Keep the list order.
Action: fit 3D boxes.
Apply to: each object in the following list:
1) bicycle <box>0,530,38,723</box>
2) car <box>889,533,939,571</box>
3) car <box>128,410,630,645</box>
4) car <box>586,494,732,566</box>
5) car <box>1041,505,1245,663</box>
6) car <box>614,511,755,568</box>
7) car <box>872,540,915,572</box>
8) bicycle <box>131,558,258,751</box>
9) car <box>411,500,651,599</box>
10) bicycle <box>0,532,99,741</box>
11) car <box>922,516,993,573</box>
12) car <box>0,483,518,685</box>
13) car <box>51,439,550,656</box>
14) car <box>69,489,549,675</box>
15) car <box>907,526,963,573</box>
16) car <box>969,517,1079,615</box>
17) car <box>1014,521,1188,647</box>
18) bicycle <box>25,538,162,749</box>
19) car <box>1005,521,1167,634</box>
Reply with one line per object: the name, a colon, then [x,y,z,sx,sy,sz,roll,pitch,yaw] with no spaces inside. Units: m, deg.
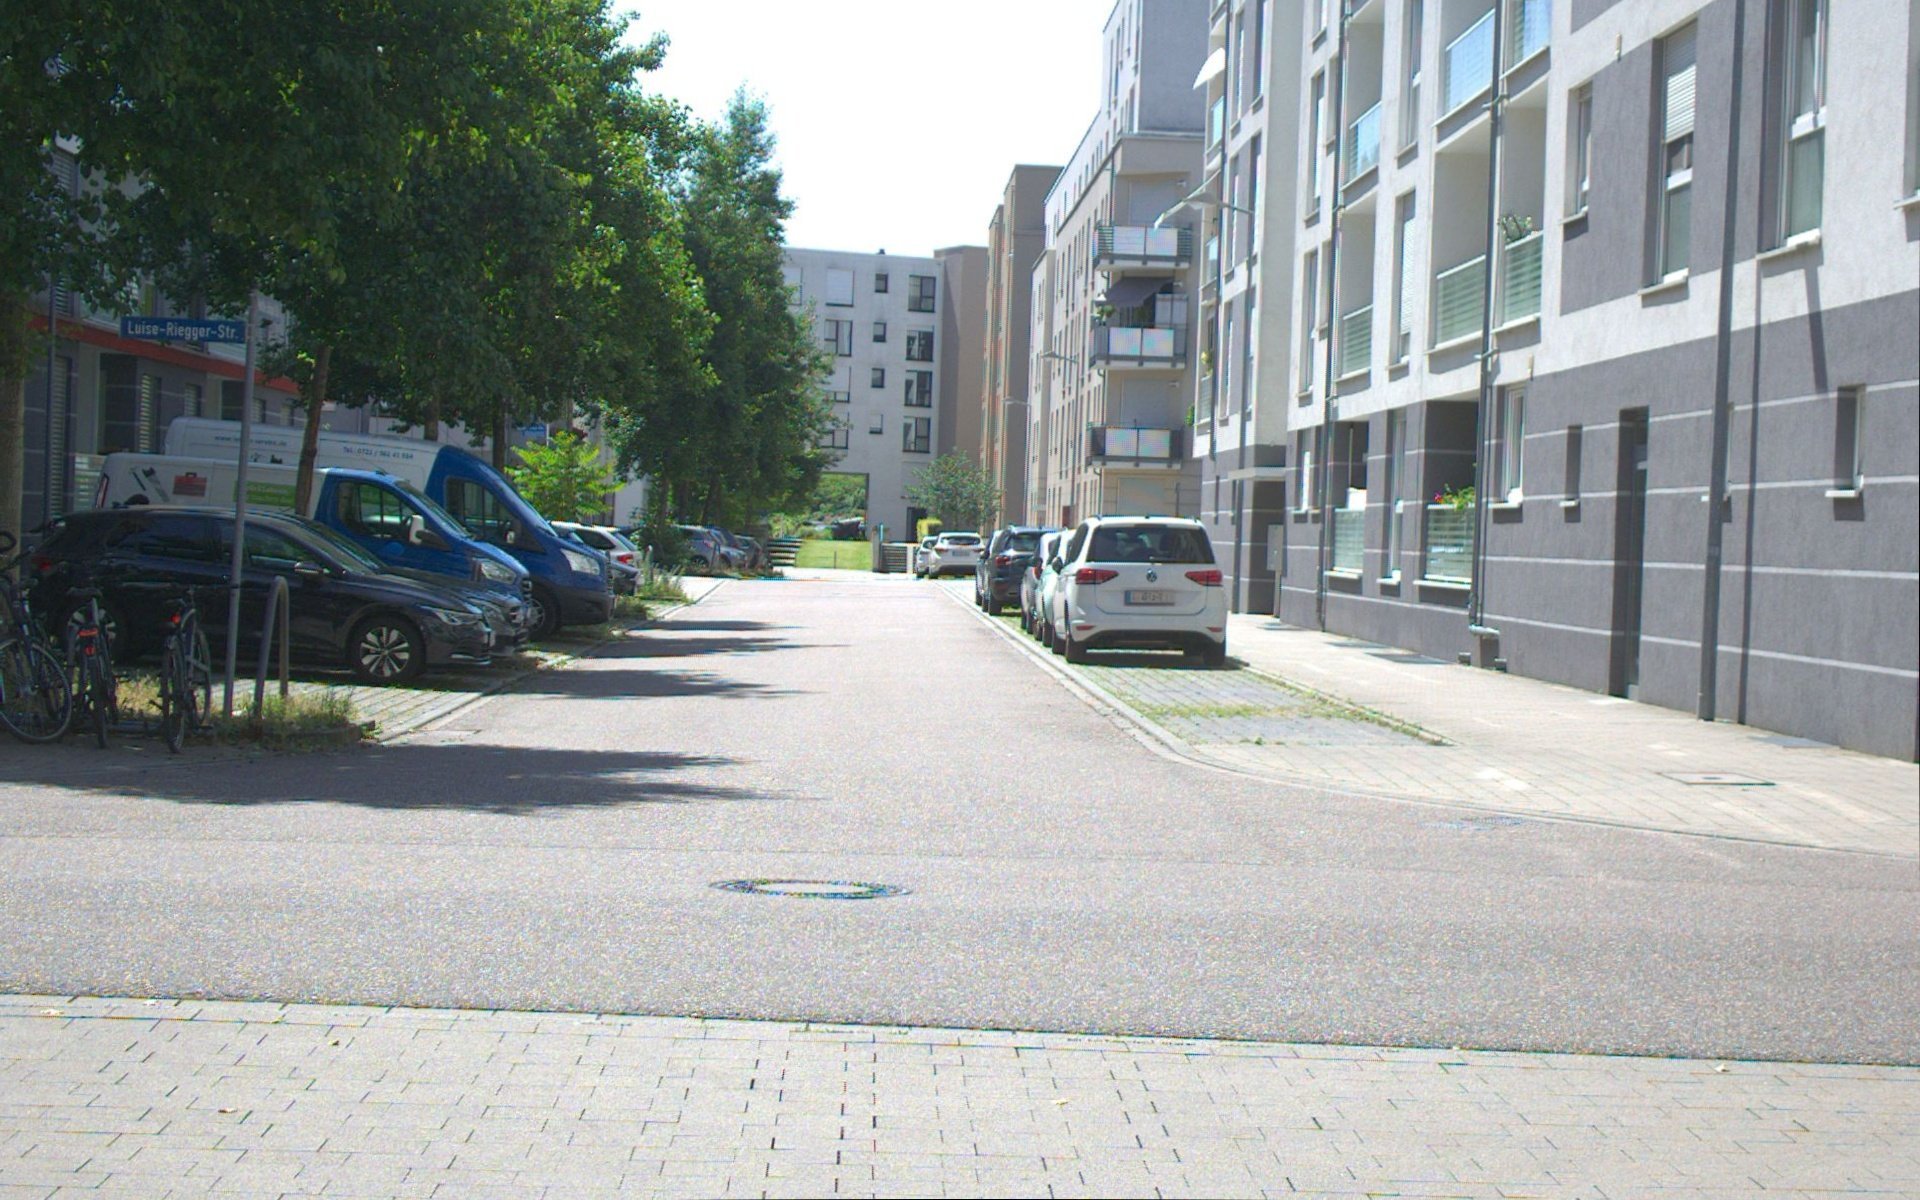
bicycle: [-6.342,0.172,21.887,0.518,1.200,1.753,3,2,-4]
car: [-1.992,-2.085,148.998,1.993,1.514,4.001,2,1,-3]
car: [-7.392,-0.936,44.335,6.023,2.806,2.605,1,1,-1]
car: [-9.012,-2.108,103.152,3.988,2.007,2.000,2,1,5]
car: [2.024,-0.223,39.099,1.997,1.651,4.115,1,1,-1]
car: [-8.459,-1.862,105.764,3.988,1.597,2.000,2,1,5]
car: [-3.278,-2.194,170.232,1.993,1.514,4.000,2,1,1]
bicycle: [-4.856,0.319,21.878,0.466,1.138,1.926,2,1,-4]
car: [-7.645,-0.915,61.543,3.987,1.612,2.000,2,1,1]
bicycle: [-5.871,0.205,21.644,0.434,1.200,1.700,4,2,-1]
car: [-0.104,-1.754,107.726,1.993,1.669,4.001,2,1,-3]
car: [-6.428,-0.166,31.746,4.383,1.509,2.075,4,1,-1]
car: [-7.380,-0.607,38.908,5.144,2.112,2.312,3,2,-1]
car: [-6.427,-0.196,34.298,4.383,1.536,1.878,4,1,-1]
car: [-1.005,-1.991,134.947,1.993,1.711,4.001,2,1,-3]
car: [1.121,-0.605,59.194,1.757,1.547,4.000,3,1,2]
car: [1.787,-0.246,44.798,1.993,1.519,4.000,1,1,-1]
bicycle: [-5.439,0.251,21.646,0.570,1.170,1.769,5,2,-9]
car: [1.772,-0.355,49.627,1.993,1.519,4.001,1,1,-3]
